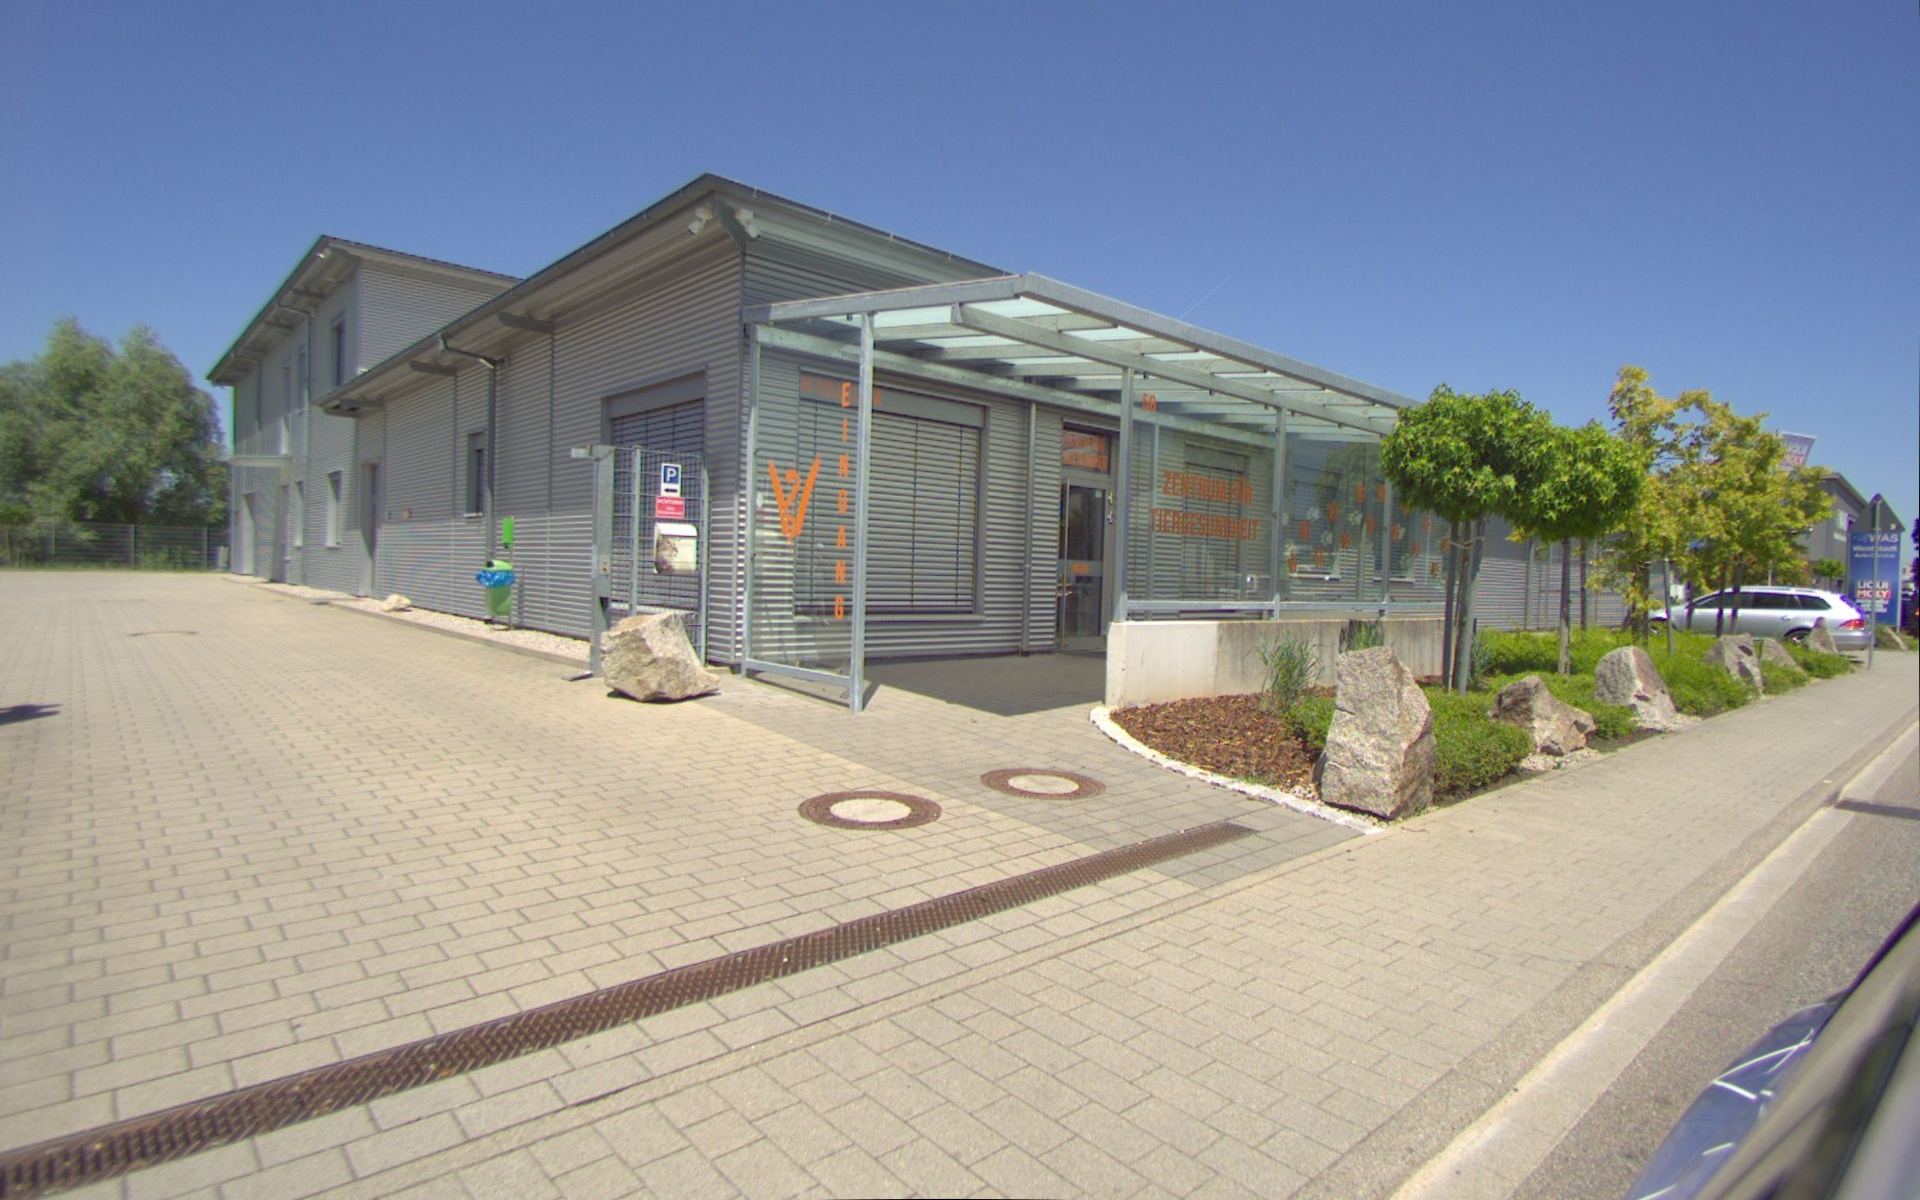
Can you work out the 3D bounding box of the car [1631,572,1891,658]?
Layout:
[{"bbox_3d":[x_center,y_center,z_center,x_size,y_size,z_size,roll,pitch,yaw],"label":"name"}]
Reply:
[{"bbox_3d":[17.712,0.251,22.520,1.882,1.560,4.284,0,3,-44],"label":"car"}]

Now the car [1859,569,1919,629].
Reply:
[{"bbox_3d":[35.119,-0.024,37.537,5.244,2.038,1.997,0,2,-42],"label":"car"}]
